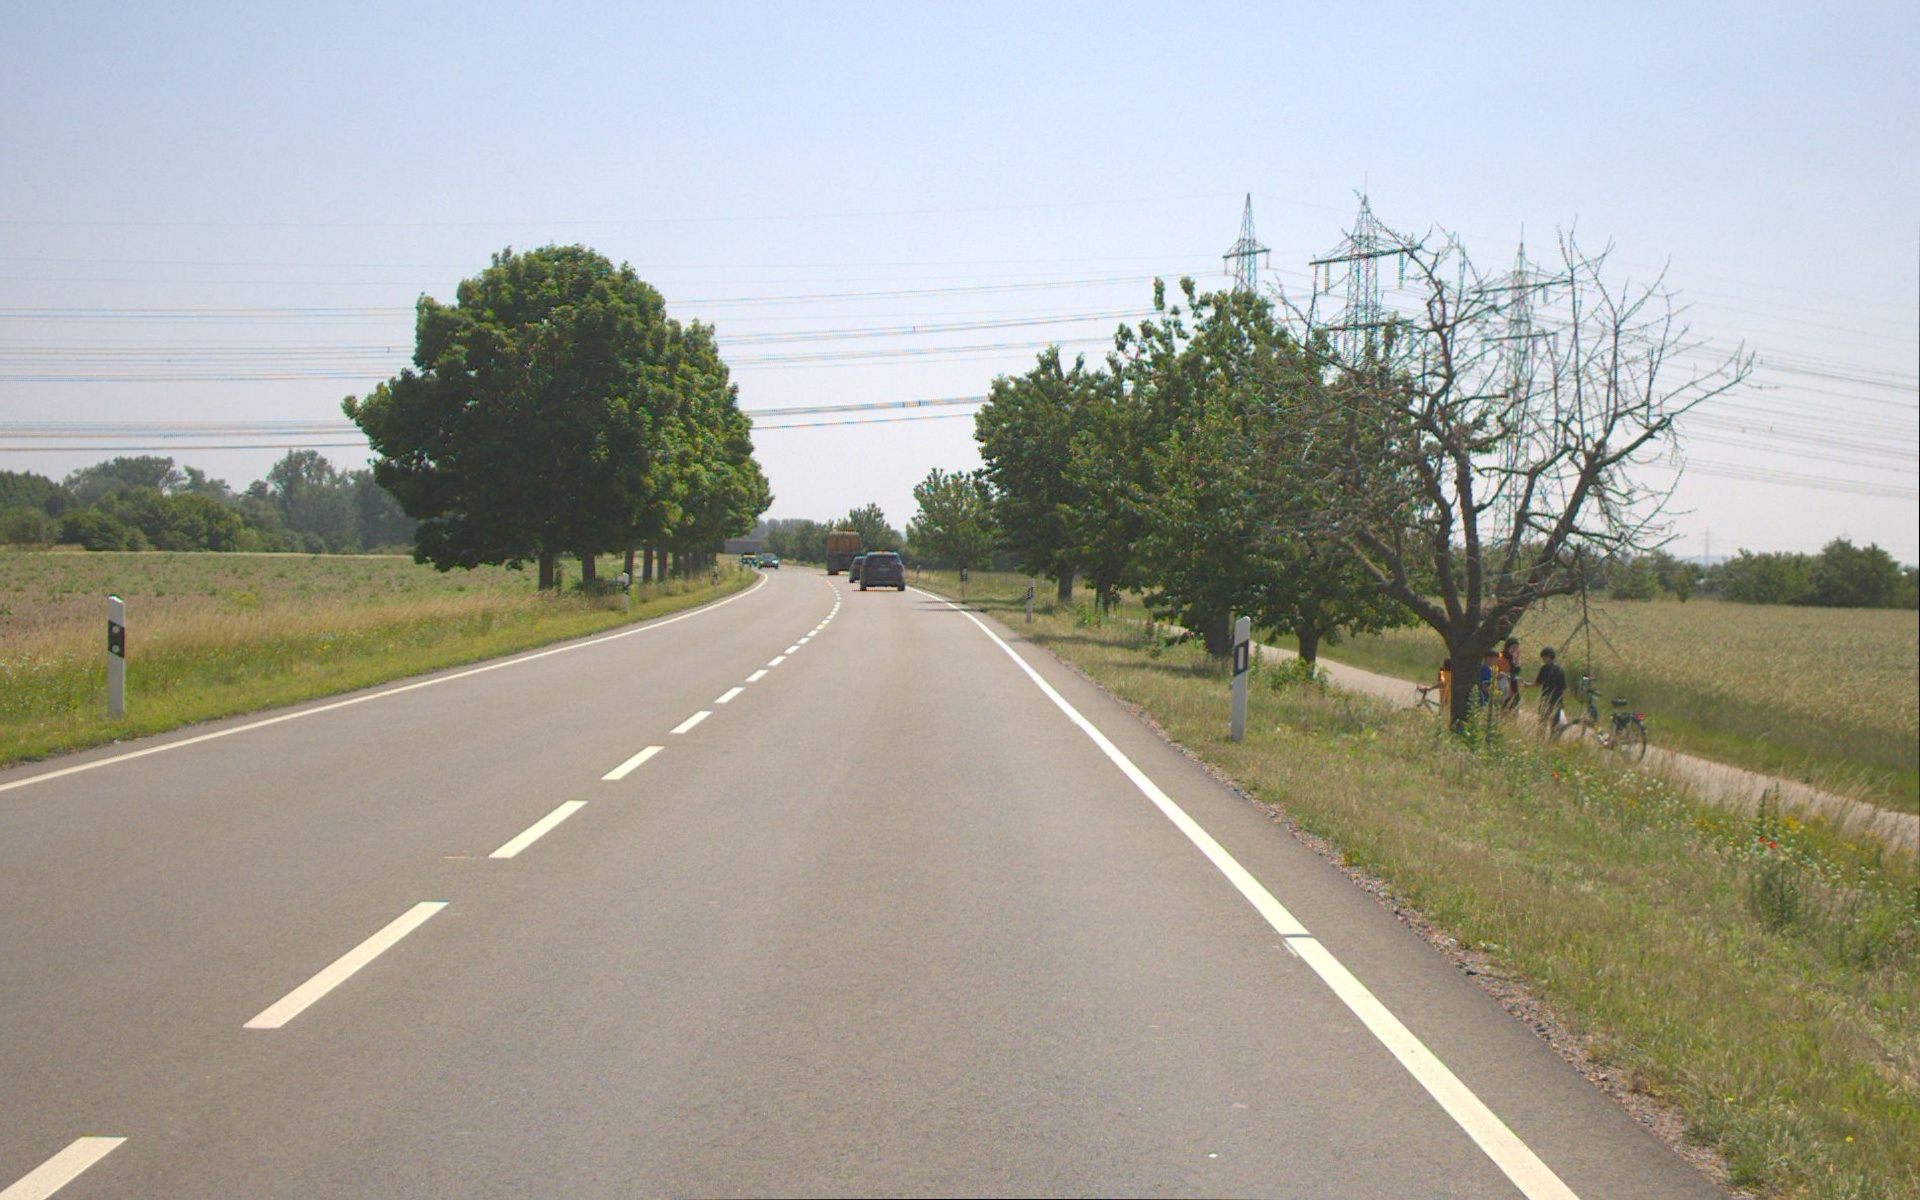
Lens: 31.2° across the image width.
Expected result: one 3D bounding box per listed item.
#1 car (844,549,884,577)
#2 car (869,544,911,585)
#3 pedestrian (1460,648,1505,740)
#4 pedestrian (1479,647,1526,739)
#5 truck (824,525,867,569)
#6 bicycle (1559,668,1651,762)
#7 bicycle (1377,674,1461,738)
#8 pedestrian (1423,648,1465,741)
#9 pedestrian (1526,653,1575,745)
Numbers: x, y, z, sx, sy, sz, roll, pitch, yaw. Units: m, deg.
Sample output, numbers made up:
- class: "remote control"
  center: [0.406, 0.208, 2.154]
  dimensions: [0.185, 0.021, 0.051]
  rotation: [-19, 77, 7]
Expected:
- class: "car"
  center: [-5.260, -2.019, 187.745]
  dimensions: [1.850, 1.518, 4.001]
  rotation: [1, 0, -6]
- class: "car"
  center: [-3.017, -1.529, 147.583]
  dimensions: [1.714, 1.688, 3.989]
  rotation: [1, 0, -2]
- class: "pedestrian"
  center: [7.558, 1.358, 49.722]
  dimensions: [0.486, 1.291, 0.441]
  rotation: [2, 1, 32]
- class: "pedestrian"
  center: [7.911, 1.348, 50.149]
  dimensions: [0.487, 1.309, 0.441]
  rotation: [2, 1, 42]
- class: "truck"
  center: [-8.489, -3.939, 253.550]
  dimensions: [2.370, 3.129, 8.749]
  rotation: [2, 1, -7]
- class: "bicycle"
  center: [8.634, 1.532, 46.076]
  dimensions: [0.475, 1.161, 1.683]
  rotation: [1, 1, -16]
- class: "bicycle"
  center: [6.619, 1.530, 49.601]
  dimensions: [1.118, 0.857, 0.441]
  rotation: [2, 1, 36]
- class: "pedestrian"
  center: [6.910, 1.348, 49.097]
  dimensions: [0.440, 1.291, 0.487]
  rotation: [1, 1, -8]
- class: "pedestrian"
  center: [8.439, 1.414, 49.134]
  dimensions: [0.487, 1.291, 0.441]
  rotation: [2, 1, 45]
